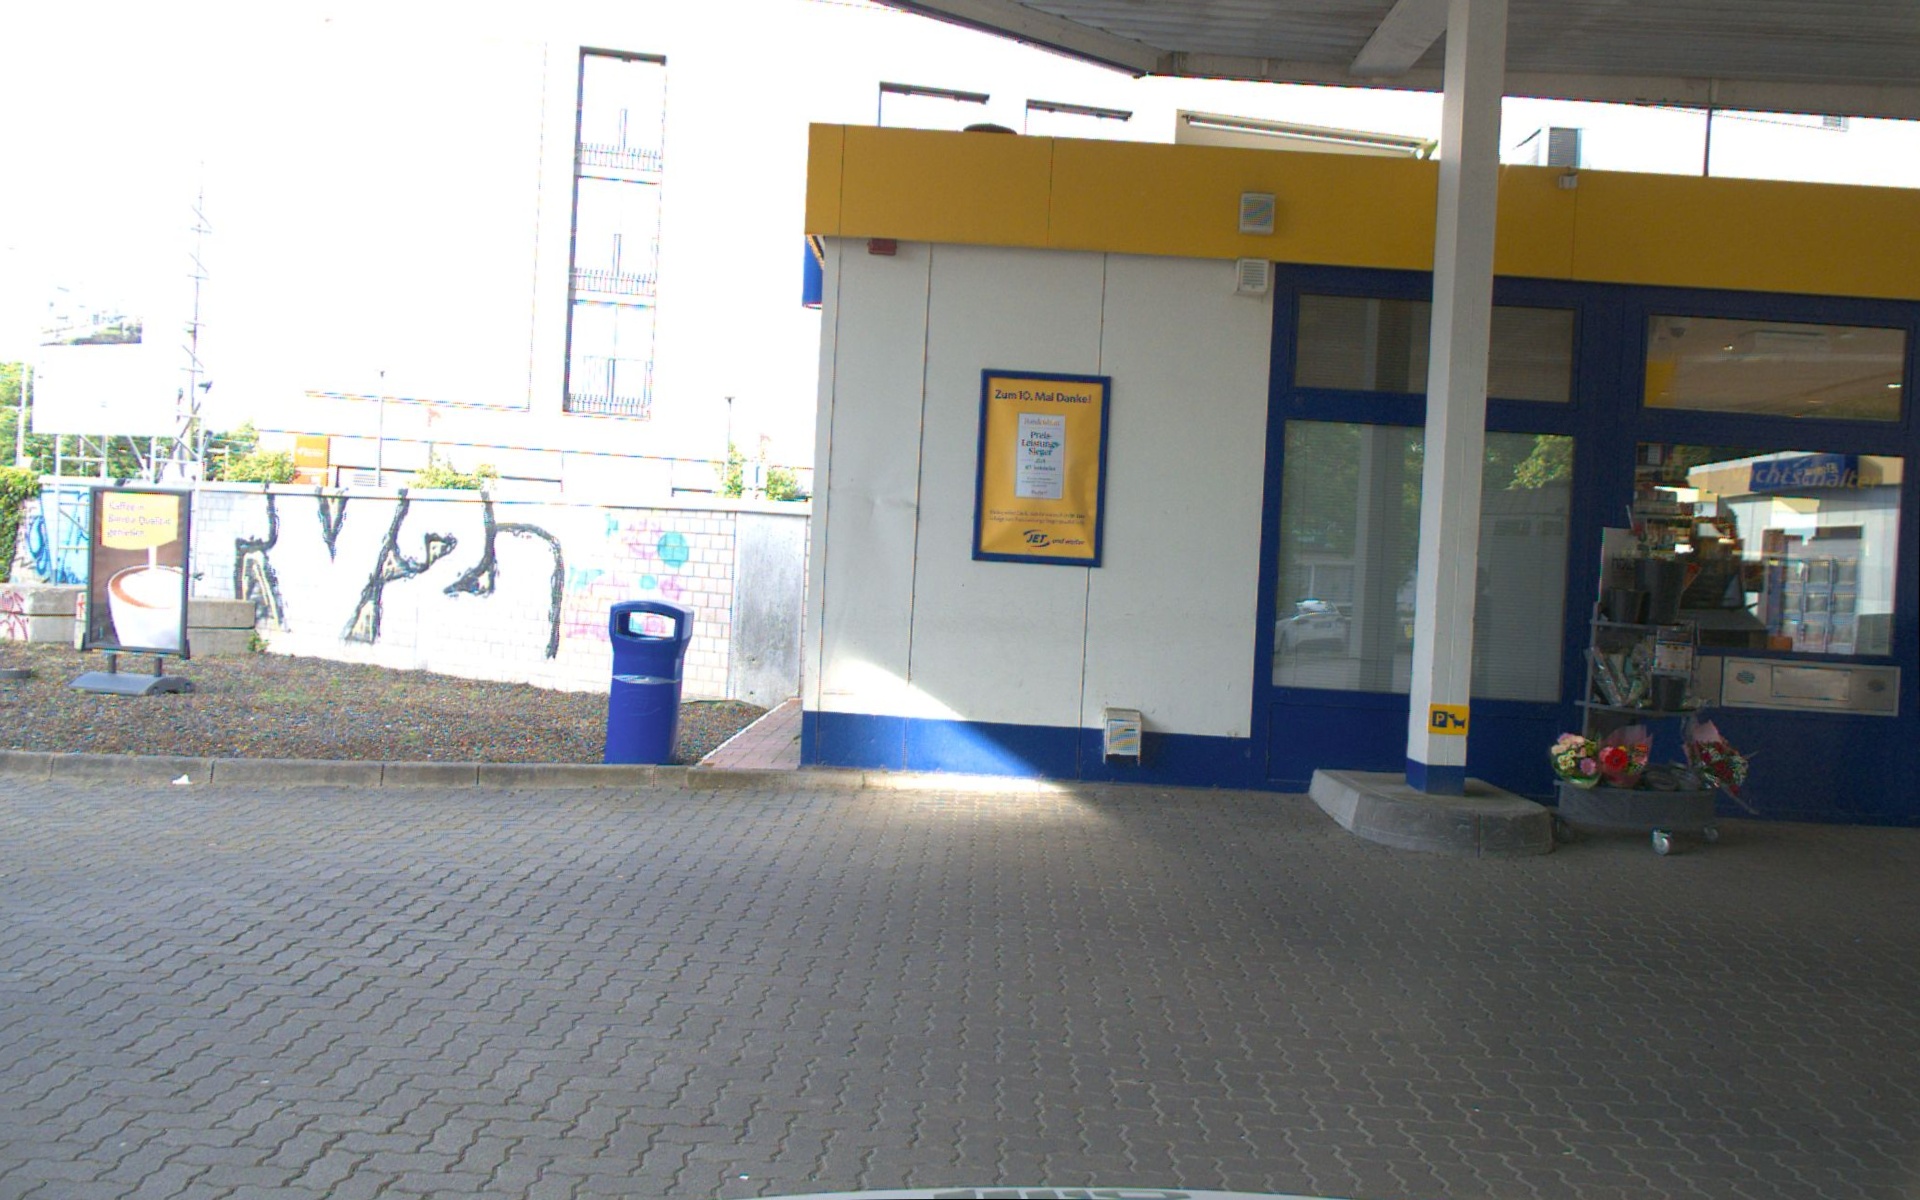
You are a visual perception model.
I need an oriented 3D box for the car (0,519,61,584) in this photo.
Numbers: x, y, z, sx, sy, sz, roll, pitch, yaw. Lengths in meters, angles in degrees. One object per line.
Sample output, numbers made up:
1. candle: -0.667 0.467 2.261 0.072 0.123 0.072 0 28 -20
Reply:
1. car: -24.823 -1.300 42.904 1.726 1.502 3.983 4 1 -17
